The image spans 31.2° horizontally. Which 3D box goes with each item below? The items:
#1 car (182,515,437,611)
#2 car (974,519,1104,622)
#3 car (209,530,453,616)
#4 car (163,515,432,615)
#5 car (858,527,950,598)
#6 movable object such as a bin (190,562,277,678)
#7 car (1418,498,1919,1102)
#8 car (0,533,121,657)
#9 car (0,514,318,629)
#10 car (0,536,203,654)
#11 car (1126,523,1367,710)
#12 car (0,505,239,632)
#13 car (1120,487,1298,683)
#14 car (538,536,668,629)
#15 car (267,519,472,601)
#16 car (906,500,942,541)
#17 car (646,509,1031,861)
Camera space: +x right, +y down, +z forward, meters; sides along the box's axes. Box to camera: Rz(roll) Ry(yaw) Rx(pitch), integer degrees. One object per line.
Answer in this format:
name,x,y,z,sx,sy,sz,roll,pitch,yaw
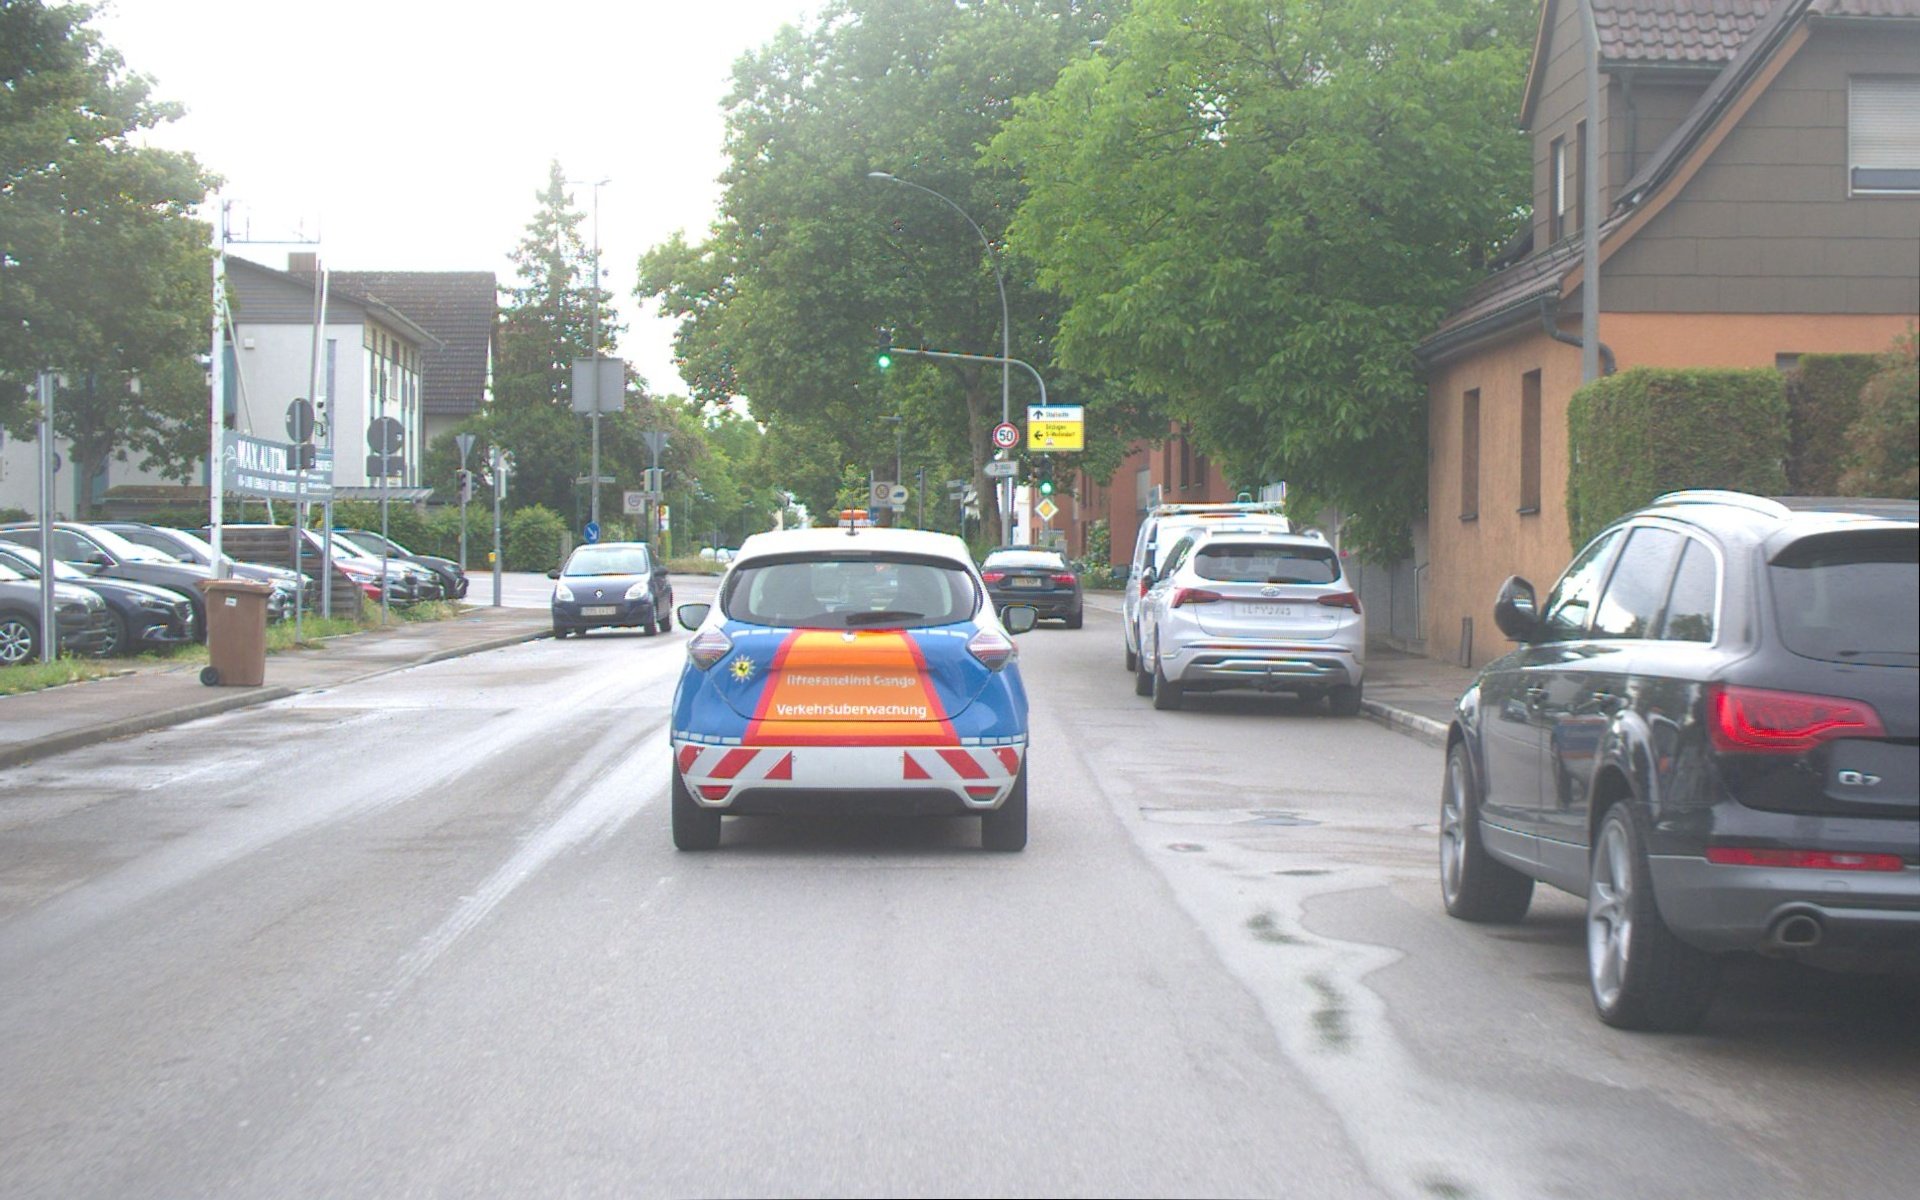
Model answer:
car,-11.138,-0.648,59.017,3.987,1.538,1.804,1,2,2
car,1.291,-0.532,57.744,1.993,1.568,4.001,1,2,-1
car,-11.243,-0.496,61.583,3.987,1.436,1.804,1,2,2
car,-10.783,-0.582,56.107,3.987,1.538,1.804,1,2,2
car,-1.264,-0.856,76.191,1.794,1.423,4.001,1,2,-4
movable object such as a bin,-7.232,0.192,34.243,0.708,1.126,0.735,0,1,0
car,3.002,0.515,12.016,2.091,1.656,4.560,1,2,-1
car,-12.353,-0.078,41.536,3.987,1.459,1.839,0,1,0
car,-12.019,-0.444,51.707,4.347,1.684,1.959,0,1,0
car,-12.056,-0.081,43.899,4.347,1.459,1.941,0,1,0
car,2.668,0.101,32.953,1.865,1.659,4.320,0,1,-1
car,-12.160,-0.444,46.555,4.347,1.685,2.059,0,1,0
car,2.759,-0.236,38.976,1.778,2.022,4.754,1,2,2
car,-5.694,-0.306,55.174,1.626,1.428,3.684,0,1,1
car,-11.766,-0.803,68.516,3.945,1.525,1.623,1,2,-10
car,-1.838,-4.057,174.927,1.643,2.010,3.716,1,2,-3
car,-0.583,0.337,17.773,1.746,1.575,4.001,-1,2,-1
